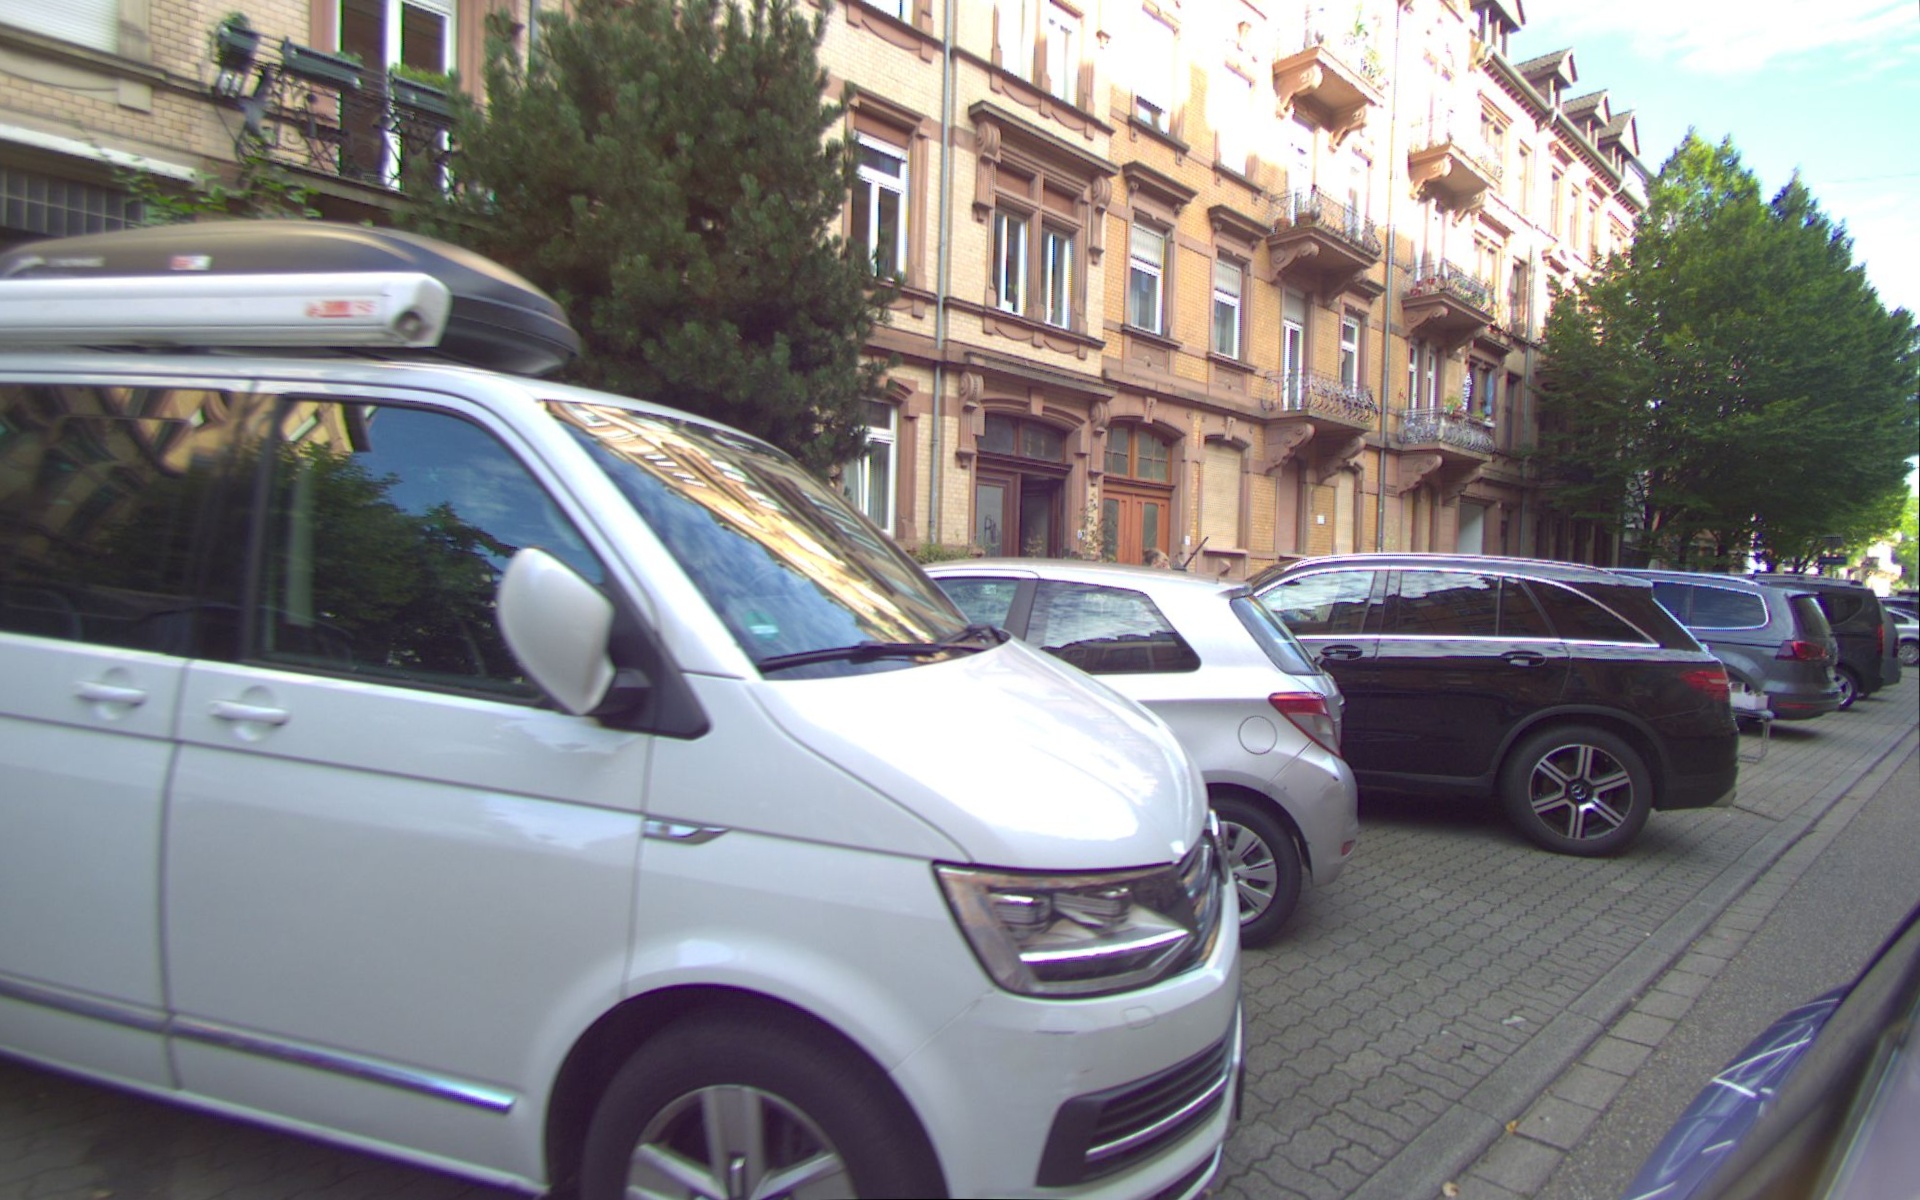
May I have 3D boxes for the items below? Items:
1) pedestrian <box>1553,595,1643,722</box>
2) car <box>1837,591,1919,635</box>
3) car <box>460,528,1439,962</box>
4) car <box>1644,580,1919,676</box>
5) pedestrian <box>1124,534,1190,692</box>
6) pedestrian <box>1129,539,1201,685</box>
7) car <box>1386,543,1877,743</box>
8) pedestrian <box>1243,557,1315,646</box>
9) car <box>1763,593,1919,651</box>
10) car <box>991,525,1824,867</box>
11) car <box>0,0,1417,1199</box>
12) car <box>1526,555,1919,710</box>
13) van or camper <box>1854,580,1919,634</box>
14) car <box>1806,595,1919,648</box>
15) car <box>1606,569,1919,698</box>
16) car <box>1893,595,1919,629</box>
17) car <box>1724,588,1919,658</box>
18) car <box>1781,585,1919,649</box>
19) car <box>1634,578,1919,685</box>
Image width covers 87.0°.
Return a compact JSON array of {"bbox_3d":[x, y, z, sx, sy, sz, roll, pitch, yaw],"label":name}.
[{"bbox_3d":[6.748,0.609,10.720,0.498,1.266,0.473,3,4,-13],"label":"pedestrian"},{"bbox_3d":[38.817,0.600,40.832,4.742,1.562,1.862,4,3,16],"label":"car"},{"bbox_3d":[-0.077,0.500,5.128,4.174,1.569,1.865,1,0,13],"label":"car"},{"bbox_3d":[16.517,0.511,20.483,3.945,1.468,1.728,5,4,16],"label":"car"},{"bbox_3d":[2.206,0.137,11.387,0.636,1.716,0.698,1,0,4],"label":"pedestrian"},{"bbox_3d":[2.443,0.137,12.041,0.622,1.680,0.574,1,0,-42],"label":"pedestrian"},{"bbox_3d":[7.953,0.341,12.402,1.779,1.806,4.645,1,4,-43],"label":"car"},{"bbox_3d":[5.690,0.016,18.069,0.927,1.515,0.800,4,2,41],"label":"pedestrian"},{"bbox_3d":[25.051,0.614,27.891,4.075,1.435,1.862,2,1,13],"label":"car"},{"bbox_3d":[2.560,0.456,6.755,4.391,1.754,1.992,1,0,13],"label":"car"},{"bbox_3d":[-1.628,0.045,3.004,5.087,2.434,1.909,3,2,15],"label":"car"},{"bbox_3d":[11.075,0.377,14.937,4.344,1.844,1.747,4,3,17],"label":"car"},{"bbox_3d":[40.606,0.300,42.587,3.946,2.206,1.989,1,0,18],"label":"van or camper"},{"bbox_3d":[29.342,0.662,31.581,4.061,1.539,1.839,1,1,12],"label":"car"},{"bbox_3d":[13.153,0.475,16.515,3.947,1.762,1.830,3,2,17],"label":"car"},{"bbox_3d":[50.705,0.631,51.725,3.944,1.694,1.917,1,0,17],"label":"car"},{"bbox_3d":[22.557,0.577,25.741,4.548,1.469,1.784,4,2,16],"label":"car"},{"bbox_3d":[27.120,0.500,29.898,3.940,1.720,1.845,3,1,13],"label":"car"},{"bbox_3d":[14.909,0.515,18.352,3.938,1.567,1.863,4,2,11],"label":"car"}]
